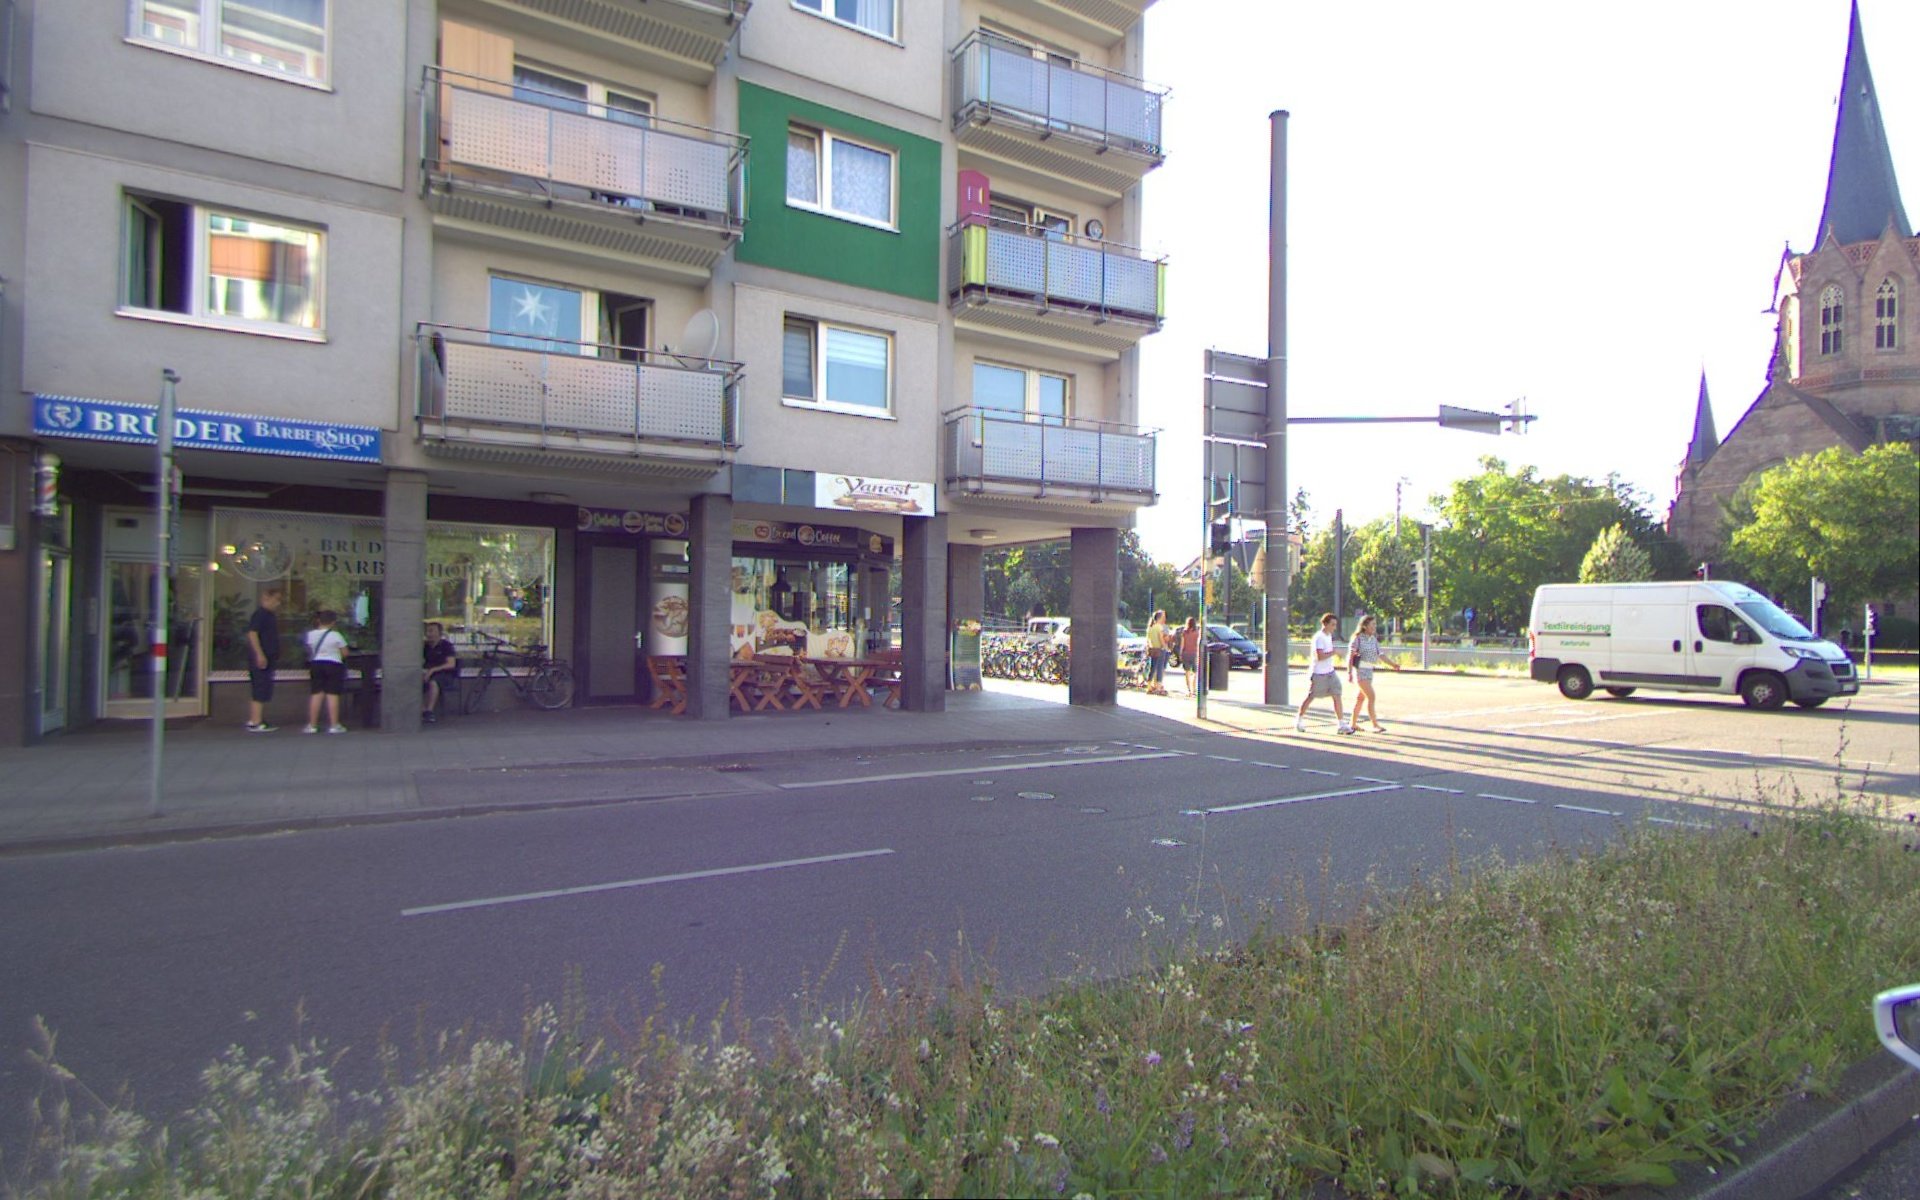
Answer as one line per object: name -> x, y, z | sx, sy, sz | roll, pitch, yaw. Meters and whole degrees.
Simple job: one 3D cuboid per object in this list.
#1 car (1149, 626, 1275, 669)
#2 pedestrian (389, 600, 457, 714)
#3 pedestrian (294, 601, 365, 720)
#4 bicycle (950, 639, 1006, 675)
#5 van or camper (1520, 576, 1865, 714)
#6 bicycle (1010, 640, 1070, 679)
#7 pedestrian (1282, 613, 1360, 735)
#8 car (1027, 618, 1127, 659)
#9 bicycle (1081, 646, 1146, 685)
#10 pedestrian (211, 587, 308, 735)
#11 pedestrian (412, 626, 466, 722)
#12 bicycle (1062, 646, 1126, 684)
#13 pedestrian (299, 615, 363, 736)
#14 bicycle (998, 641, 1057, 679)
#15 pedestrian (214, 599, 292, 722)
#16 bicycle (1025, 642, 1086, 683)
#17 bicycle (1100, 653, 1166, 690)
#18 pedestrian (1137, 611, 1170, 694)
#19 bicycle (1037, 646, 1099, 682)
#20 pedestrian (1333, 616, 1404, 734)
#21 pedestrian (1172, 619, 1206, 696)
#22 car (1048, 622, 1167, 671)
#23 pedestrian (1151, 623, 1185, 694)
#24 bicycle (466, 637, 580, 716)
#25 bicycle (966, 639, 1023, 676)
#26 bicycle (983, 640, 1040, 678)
car -> 9.201, 1.714, 37.062 | 1.938, 1.427, 4.461 | 1, -1, -31
pedestrian -> -7.823, 0.819, 14.633 | 0.780, 1.599, 0.557 | 1, -1, -37
pedestrian -> -8.745, 0.830, 13.954 | 0.778, 1.599, 0.558 | 1, -1, -30
bicycle -> 0.564, 1.721, 30.389 | 0.491, 1.049, 1.928 | 0, -2, 45
van or camper -> 14.840, 0.867, 20.769 | 2.139, 2.448, 5.397 | 1, -1, -29
bicycle -> 2.213, 1.634, 27.705 | 1.684, 1.044, 0.493 | 1, -1, -32
pedestrian -> 5.444, 1.090, 15.187 | 0.664, 1.781, 0.921 | 1, -1, -22
car -> 5.027, 1.635, 43.621 | 2.096, 1.694, 4.433 | 1, -1, -30
bicycle -> 3.838, 1.622, 25.063 | 1.684, 0.919, 0.493 | 2, -1, -32
pedestrian -> -8.409, 0.722, 12.077 | 0.764, 1.723, 0.561 | 0, -1, 13
pedestrian -> -7.049, 0.990, 13.603 | 0.522, 1.256, 0.556 | 1, -1, -16
bicycle -> 3.413, 1.643, 25.530 | 1.684, 0.919, 0.493 | 2, -1, -32
pedestrian -> -7.464, 0.884, 11.930 | 0.472, 1.402, 0.484 | 1, -1, -11
bicycle -> 1.894, 1.676, 28.256 | 1.684, 1.049, 0.493 | 1, -1, -32
pedestrian -> -9.465, 0.801, 13.473 | 0.778, 1.599, 0.558 | 1, -1, -30
bicycle -> 2.571, 1.662, 27.029 | 1.684, 1.052, 0.493 | 1, -1, -32
bicycle -> 4.207, 1.732, 24.373 | 1.684, 0.851, 0.493 | 2, -1, -32
pedestrian -> 4.222, 1.143, 21.963 | 0.464, 1.792, 0.550 | 1, -1, -29
bicycle -> 2.842, 1.680, 26.449 | 1.684, 0.919, 0.493 | 2, -1, -32
pedestrian -> 6.203, 1.118, 15.283 | 0.664, 1.731, 0.752 | 1, -1, -22
pedestrian -> 4.974, 1.245, 21.840 | 0.566, 1.663, 0.468 | 1, -1, -11
car -> 5.298, 1.662, 36.630 | 1.938, 1.640, 4.461 | 1, -1, -31
pedestrian -> 4.686, 1.308, 22.626 | 0.570, 1.550, 0.465 | 1, -1, -32
bicycle -> -6.411, 1.112, 14.758 | 1.441, 1.095, 0.584 | 2, -2, -34
bicycle -> 1.037, 1.684, 29.791 | 0.491, 1.049, 1.928 | 0, -2, 45
bicycle -> 1.495, 1.688, 29.037 | 0.491, 1.049, 1.928 | 0, -2, 45
